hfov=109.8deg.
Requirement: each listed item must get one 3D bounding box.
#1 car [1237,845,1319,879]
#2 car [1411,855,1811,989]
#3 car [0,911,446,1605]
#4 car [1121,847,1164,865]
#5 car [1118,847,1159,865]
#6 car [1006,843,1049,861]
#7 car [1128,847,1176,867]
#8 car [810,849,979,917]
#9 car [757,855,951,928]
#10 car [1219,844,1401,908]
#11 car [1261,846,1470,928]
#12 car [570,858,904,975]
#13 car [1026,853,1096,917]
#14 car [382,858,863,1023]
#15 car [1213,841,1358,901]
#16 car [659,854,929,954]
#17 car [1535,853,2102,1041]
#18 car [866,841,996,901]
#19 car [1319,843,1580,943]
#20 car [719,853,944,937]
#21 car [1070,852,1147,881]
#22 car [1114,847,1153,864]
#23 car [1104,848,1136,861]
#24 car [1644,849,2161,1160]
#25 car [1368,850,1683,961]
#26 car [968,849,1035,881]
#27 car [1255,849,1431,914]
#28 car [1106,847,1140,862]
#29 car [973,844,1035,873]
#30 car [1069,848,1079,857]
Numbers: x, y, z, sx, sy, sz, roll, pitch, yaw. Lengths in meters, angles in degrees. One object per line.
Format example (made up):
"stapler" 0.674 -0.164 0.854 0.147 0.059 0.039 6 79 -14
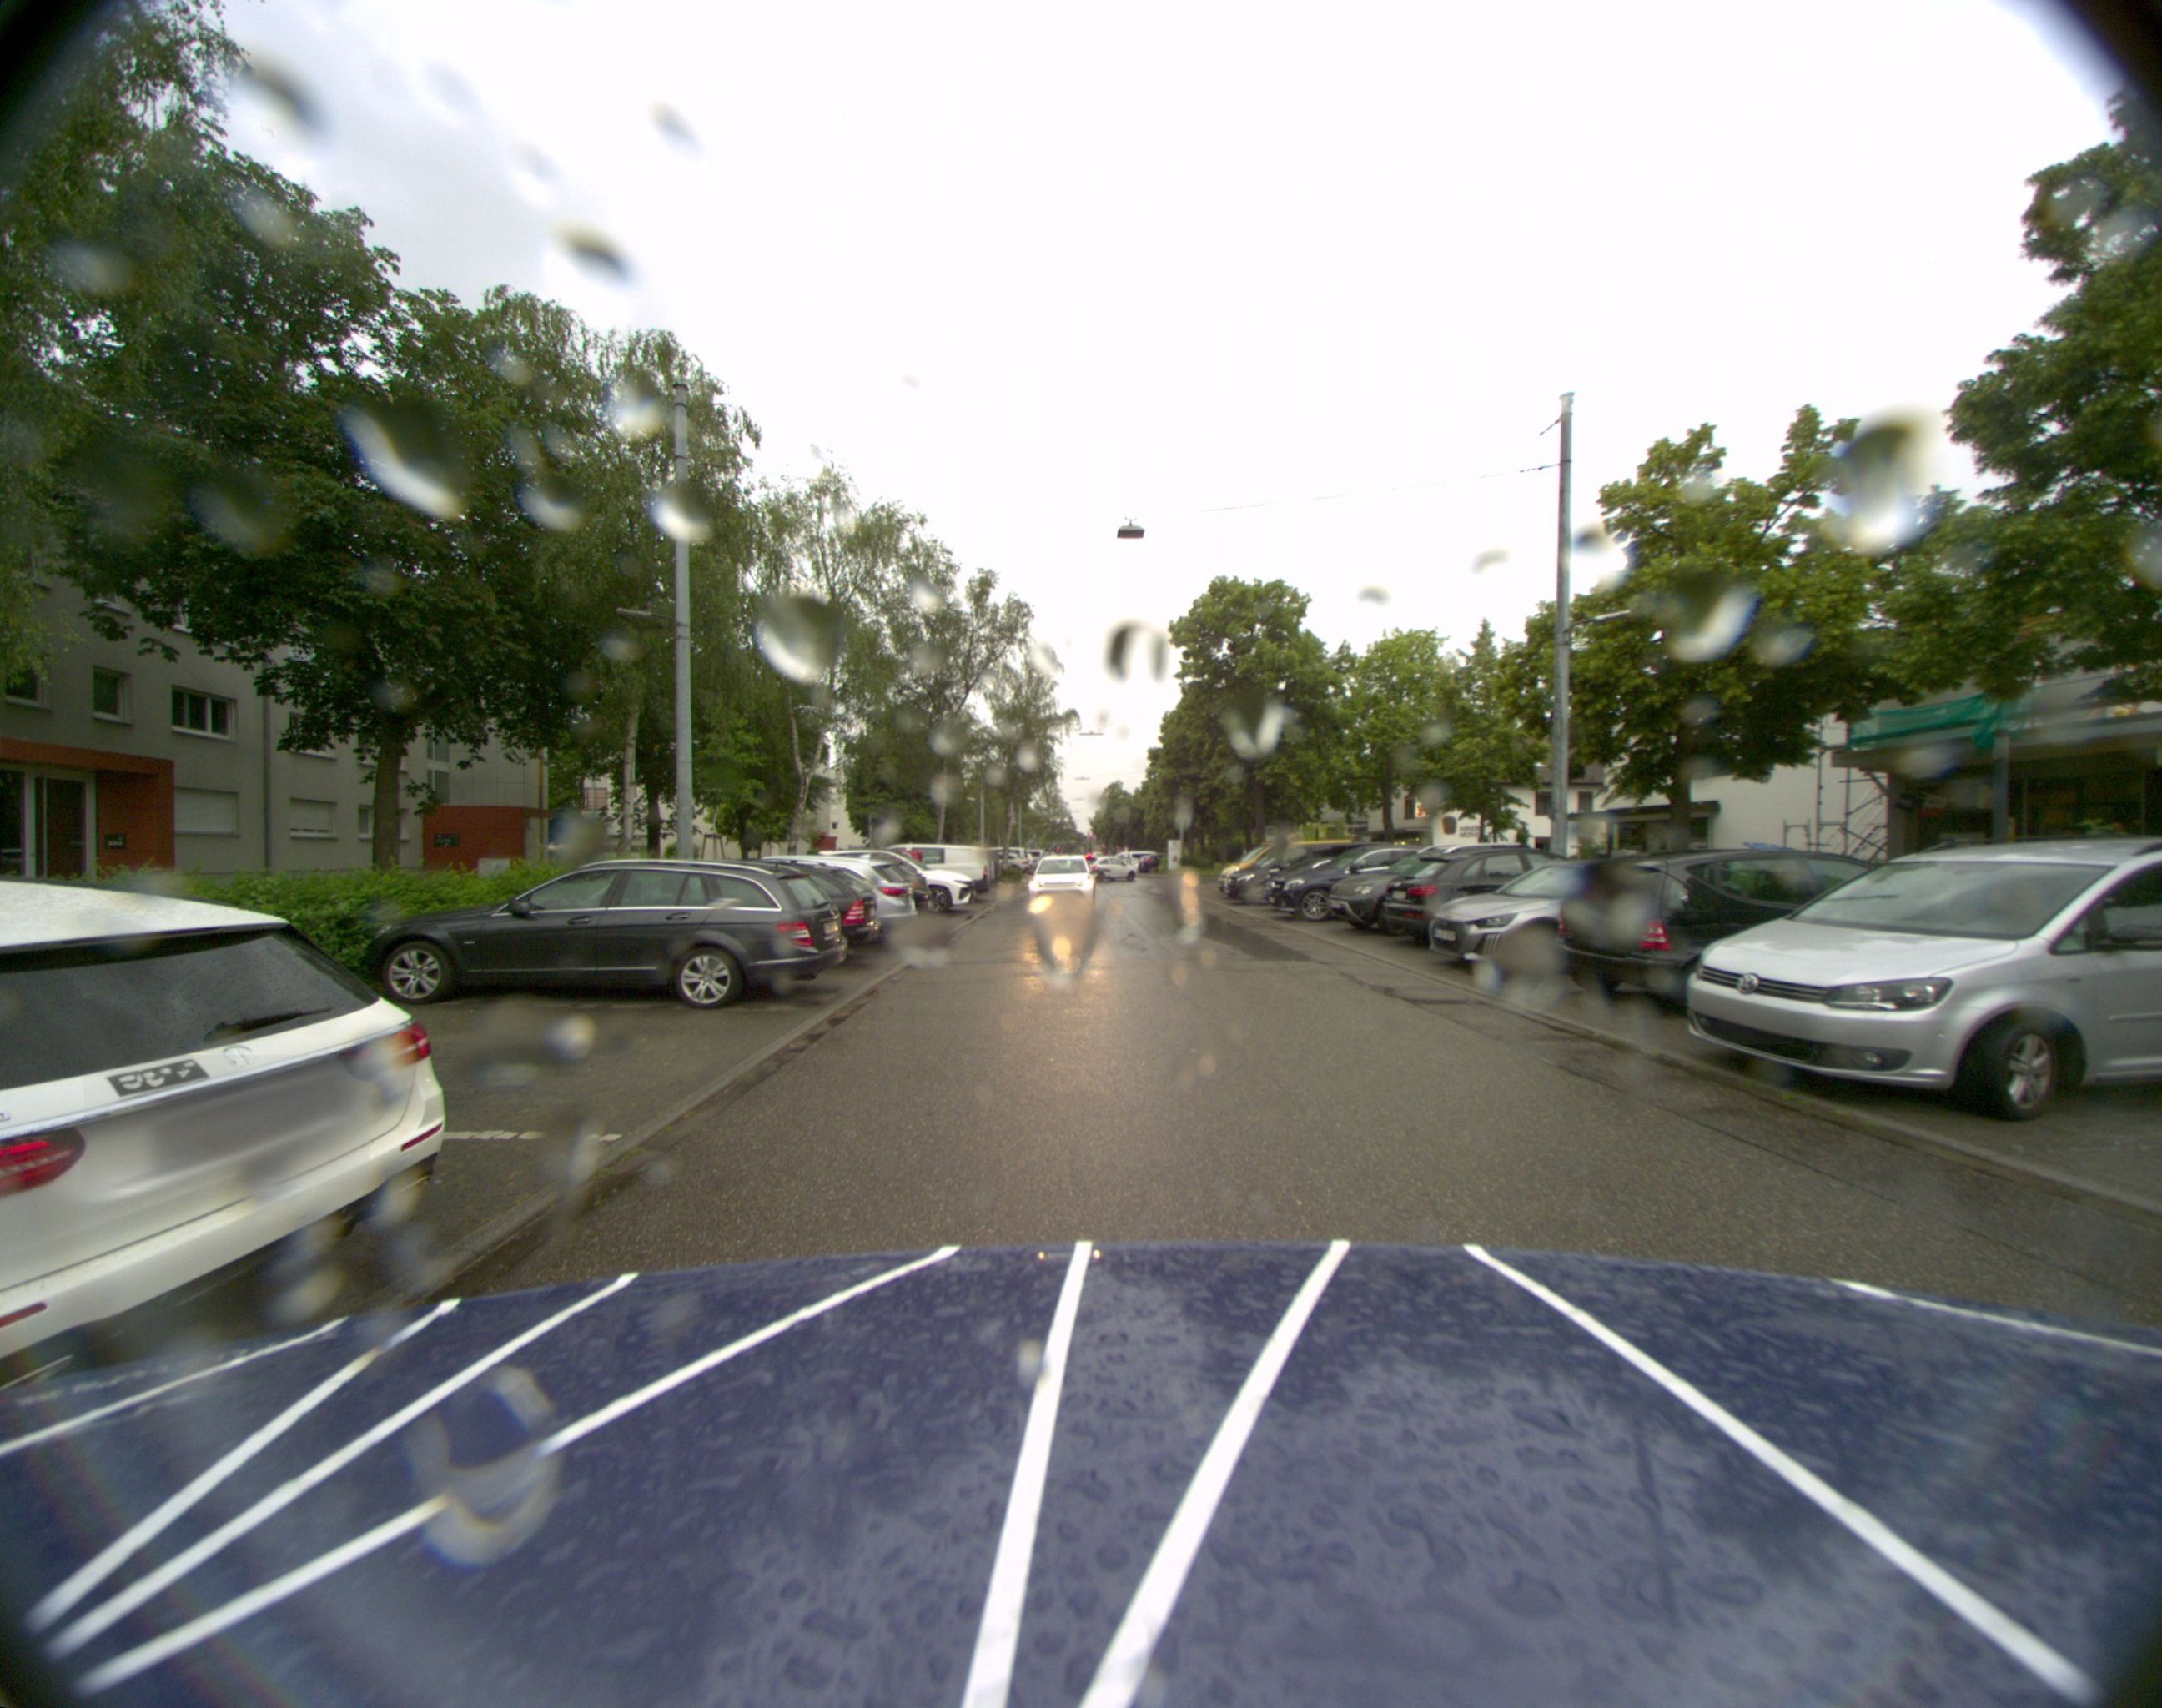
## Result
"car" 10.730 0.431 41.519 3.996 1.677 1.841 -2 1 3
"car" 6.994 0.841 10.313 4.283 1.523 1.715 -2 1 -2
"car" -4.760 0.919 2.064 4.623 1.431 1.680 2 1 0
"car" 6.079 0.188 75.808 3.998 1.675 1.999 -2 1 -3
"car" 5.927 0.222 78.363 3.998 1.675 1.999 -2 1 -3
"car" -5.267 -0.205 75.021 3.995 1.670 1.902 -2 1 4
"car" 6.397 0.265 68.879 3.998 1.675 1.999 -2 1 -3
"car" -5.050 0.762 20.904 4.179 1.609 1.680 2 1 1
"car" -5.230 0.850 17.893 4.049 1.488 1.680 2 1 -3
"car" 7.109 0.649 23.852 5.177 1.789 1.715 -2 1 -2
"car" 6.615 0.720 17.942 4.283 1.717 1.715 -2 1 -2
"car" -4.802 0.854 11.056 4.049 1.431 1.680 2 1 -3
"car" -0.484 0.781 21.253 1.733 1.519 4.139 -1 1 0
"car" -4.607 0.851 8.112 4.049 1.431 1.680 2 1 -3
"car" 7.175 0.577 26.935 4.657 1.947 1.715 -2 1 -2
"car" -4.859 0.823 13.304 4.049 1.488 1.680 2 1 -3
"car" 7.256 0.841 7.753 4.283 1.556 1.635 -2 1 -2
"car" -5.087 0.577 26.185 4.182 1.856 1.679 2 1 -6
"car" 7.085 0.707 14.863 4.283 1.717 1.715 -2 1 -2
"car" -5.002 0.798 15.624 4.049 1.488 1.680 2 1 -3
"car" 1.624 0.677 43.819 1.994 1.446 4.265 -1 1 45
"car" 5.785 0.178 83.752 3.998 1.675 1.999 -2 1 -3
"car" 5.207 0.058 101.613 3.998 1.675 1.999 -2 1 -3
"car" 6.609 0.845 5.209 4.283 1.625 1.715 -2 1 -2
"car" 7.259 0.790 12.673 4.283 1.586 1.715 -2 1 -2
"car" -5.116 0.690 49.259 3.995 1.902 1.902 -2 1 4
"car" 7.178 0.725 21.064 4.283 1.617 1.715 -2 1 -2
"car" 5.218 0.062 94.415 3.998 1.675 1.999 -2 1 -3
"car" -5.458 0.285 54.089 3.995 1.902 1.902 -2 1 4
"car" -1.460 -0.326 155.381 1.998 1.804 3.999 -2 1 1
